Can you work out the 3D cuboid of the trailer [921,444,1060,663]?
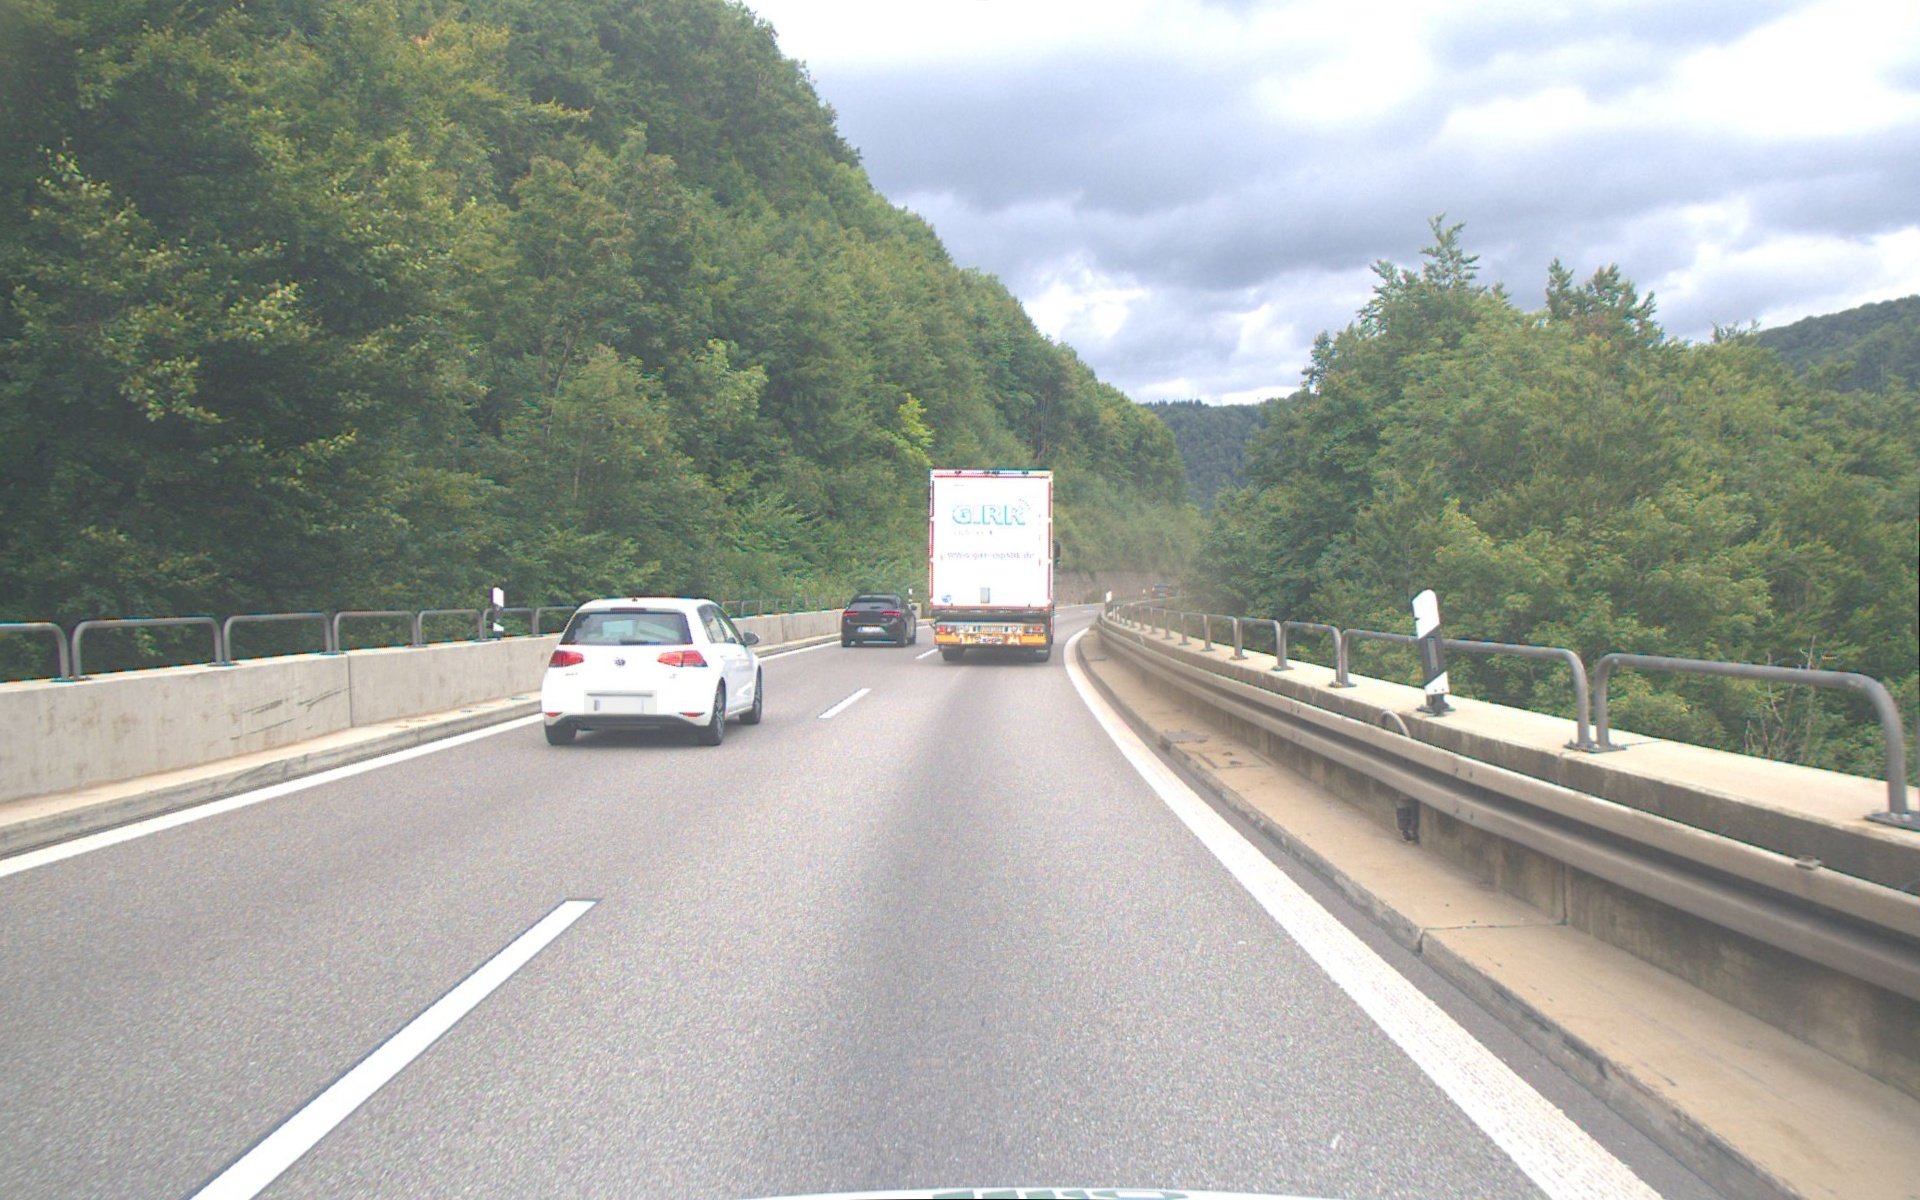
[{"bbox_3d":[0.975,-0.884,39.633,2.754,4.378,12.249,-1,-1,3],"label":"trailer"}]

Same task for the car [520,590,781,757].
[{"bbox_3d":[-3.144,0.672,17.755,1.807,1.507,4.629,-1,1,1],"label":"car"}]

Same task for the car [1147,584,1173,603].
[{"bbox_3d":[17.512,-0.576,144.884,1.951,1.593,4.003,-1,-1,11],"label":"car"}]

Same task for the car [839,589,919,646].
[{"bbox_3d":[-2.215,0.474,46.184,1.736,1.486,4.583,0,0,3],"label":"car"}]

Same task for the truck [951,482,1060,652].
[{"bbox_3d":[1.376,-0.824,46.129,2.754,4.378,6.261,-1,-1,3],"label":"truck"}]
